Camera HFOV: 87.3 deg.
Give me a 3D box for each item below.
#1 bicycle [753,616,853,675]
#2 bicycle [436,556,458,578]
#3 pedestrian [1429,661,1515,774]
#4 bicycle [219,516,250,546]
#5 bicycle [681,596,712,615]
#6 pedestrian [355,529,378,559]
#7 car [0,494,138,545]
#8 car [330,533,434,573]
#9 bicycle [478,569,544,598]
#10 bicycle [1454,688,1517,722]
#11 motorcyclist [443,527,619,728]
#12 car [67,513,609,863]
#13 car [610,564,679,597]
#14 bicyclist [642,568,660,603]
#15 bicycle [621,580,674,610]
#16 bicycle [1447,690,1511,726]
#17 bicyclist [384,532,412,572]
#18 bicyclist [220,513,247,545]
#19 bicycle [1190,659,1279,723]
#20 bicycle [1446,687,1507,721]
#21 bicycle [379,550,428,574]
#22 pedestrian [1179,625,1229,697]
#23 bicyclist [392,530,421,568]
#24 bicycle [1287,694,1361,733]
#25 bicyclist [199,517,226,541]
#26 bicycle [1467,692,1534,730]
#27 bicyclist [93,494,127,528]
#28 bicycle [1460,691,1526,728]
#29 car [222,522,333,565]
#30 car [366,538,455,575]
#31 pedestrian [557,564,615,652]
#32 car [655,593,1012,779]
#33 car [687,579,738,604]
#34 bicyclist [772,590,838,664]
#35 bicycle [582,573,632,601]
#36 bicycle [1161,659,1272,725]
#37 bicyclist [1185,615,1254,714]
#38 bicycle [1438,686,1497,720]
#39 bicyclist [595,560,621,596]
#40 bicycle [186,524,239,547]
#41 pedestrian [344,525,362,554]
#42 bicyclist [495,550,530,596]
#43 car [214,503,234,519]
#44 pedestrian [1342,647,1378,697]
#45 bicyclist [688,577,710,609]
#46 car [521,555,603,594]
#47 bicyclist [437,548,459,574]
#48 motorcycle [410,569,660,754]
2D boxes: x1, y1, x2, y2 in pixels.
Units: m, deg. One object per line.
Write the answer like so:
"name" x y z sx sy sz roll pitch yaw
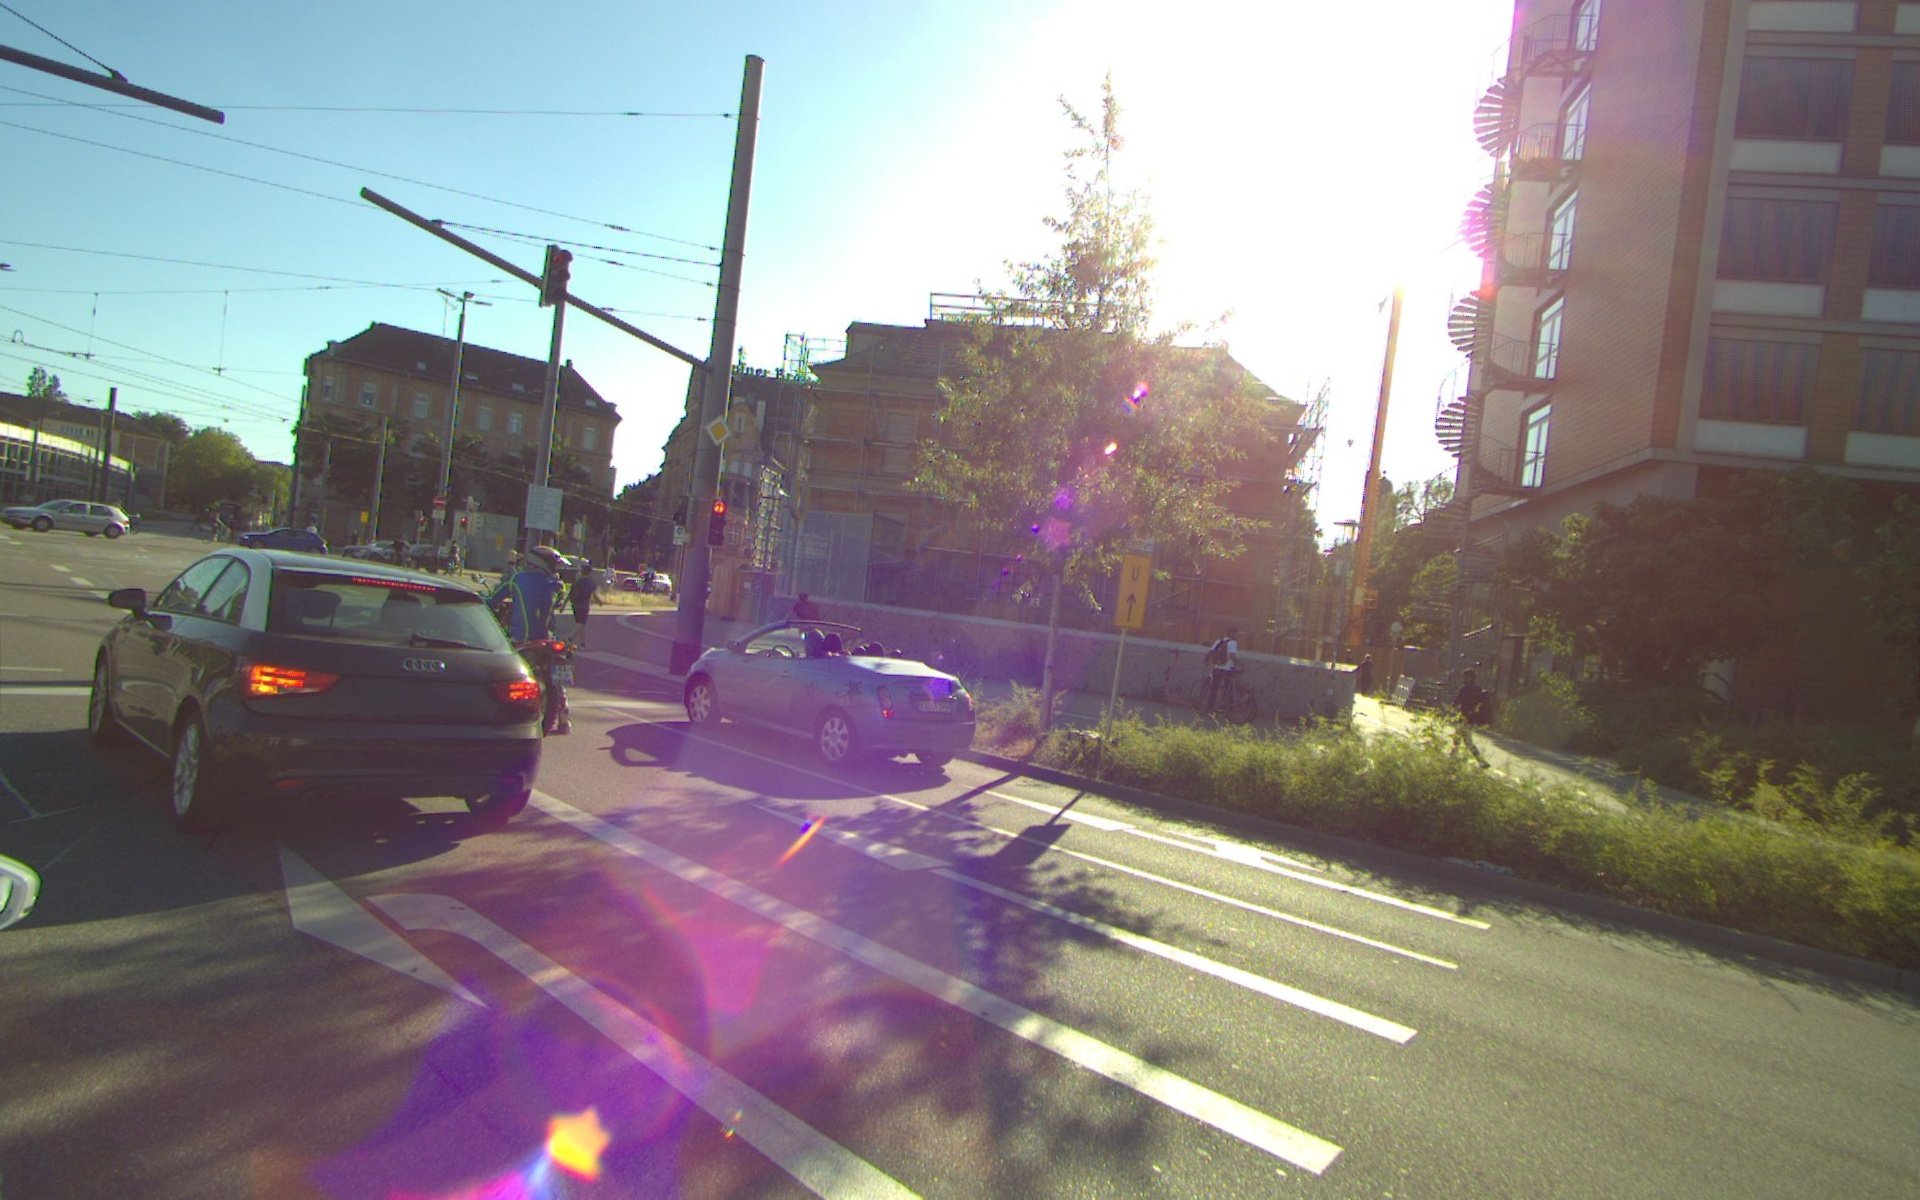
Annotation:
"bicycle" -3.279 0.931 20.860 2.219 0.963 0.719 5 -2 42
"bicycle" -26.473 -1.713 51.919 0.851 0.916 2.286 9 0 -28
"pedestrian" 8.346 1.908 16.409 0.801 1.677 0.783 9 -2 -32
"bicycle" -47.545 -4.546 65.930 1.128 1.710 3.966 8 0 -31
"bicycle" -15.255 0.323 58.303 0.844 0.916 2.304 9 0 5
"pedestrian" -37.226 -3.498 63.074 0.772 1.697 0.923 7 0 41
"car" -37.199 -3.330 41.895 1.920 1.469 4.103 7 -1 28
"car" -31.982 -2.580 55.788 1.920 1.536 4.554 7 -1 28
"bicycle" -18.168 -0.643 40.802 0.844 0.885 2.502 9 0 20
"bicycle" 16.936 3.381 32.427 1.622 0.868 0.529 7 0 11
"motorcyclist" -4.075 0.272 9.574 0.924 1.741 1.094 6 -1 43
"car" -4.139 0.377 6.415 3.923 1.461 1.799 6 -2 42
"car" -23.137 -1.412 73.950 1.919 1.821 4.846 7 -1 26
"bicyclist" -15.902 -0.766 51.717 0.642 1.711 0.856 8 1 -18
"bicycle" -16.037 -0.238 51.703 2.466 1.147 0.856 9 0 -18
"bicycle" 16.267 3.368 31.536 1.622 0.868 0.529 7 0 11
"bicyclist" -27.539 -2.356 49.266 0.850 1.800 0.585 7 0 6
"bicyclist" -47.492 -4.659 65.790 1.111 1.924 1.065 8 1 -30
"bicycle" 5.574 1.827 20.545 0.619 1.052 1.952 5 0 -23
"bicycle" 16.994 3.430 33.144 1.622 0.868 0.529 7 0 11
"bicycle" -27.536 -1.880 49.839 0.844 0.916 2.304 9 0 6
"pedestrian" 6.354 1.585 26.183 0.920 1.745 0.987 7 0 22
"bicyclist" -27.450 -2.512 49.889 0.844 1.711 0.651 9 1 6
"bicycle" 7.418 2.311 20.524 1.334 0.547 0.429 7 2 28
"bicyclist" -41.928 -3.970 56.431 0.821 1.157 0.715 9 1 12
"bicycle" 16.266 3.333 30.306 1.622 0.868 0.529 7 0 11
"bicyclist" -44.708 -4.695 52.898 0.844 1.578 0.926 9 1 19
"bicycle" 16.338 3.349 30.885 1.622 0.868 0.529 7 0 11
"car" -36.456 -3.016 53.794 4.585 1.613 1.931 8 -1 -42
"car" -29.637 -2.311 54.440 1.916 1.504 4.105 7 -1 11
"pedestrian" -7.554 0.160 20.354 0.685 1.693 0.829 6 1 3
"car" -1.556 0.912 11.495 3.923 1.461 1.799 6 -2 42
"car" -20.328 -0.673 82.752 1.915 1.582 4.359 9 0 18
"bicyclist" -3.215 0.553 20.844 1.061 1.400 0.719 5 -2 42
"bicycle" -18.289 -0.645 52.182 0.844 1.147 2.501 9 0 24
"bicycle" 4.997 1.784 19.731 0.785 1.052 1.941 4 1 -40
"bicyclist" 5.072 1.257 19.676 0.783 1.809 0.884 4 1 -40
"bicycle" 17.044 3.456 33.804 1.622 0.868 0.529 7 0 11
"bicyclist" -18.230 -1.116 52.157 0.844 1.711 0.651 9 1 24
"bicycle" -41.957 -3.602 56.530 0.844 0.971 2.305 9 0 13
"pedestrian" -38.304 -3.810 63.510 0.546 1.674 0.641 7 0 4
"bicyclist" -18.122 -1.084 40.742 0.844 1.711 0.747 9 1 21
"car" -93.959 -11.359 128.408 1.792 1.675 3.879 9 0 -35
"pedestrian" 17.618 3.165 44.270 0.980 2.038 1.295 7 0 36
"bicyclist" -15.141 -0.411 58.301 0.844 1.711 0.651 9 1 5
"car" -25.385 -1.574 64.374 1.918 1.916 4.849 7 -1 23
"bicyclist" -26.359 -2.022 51.789 0.851 1.191 0.709 8 1 -30
"motorcycle" -4.099 0.537 9.563 2.618 1.393 1.094 6 -2 43
